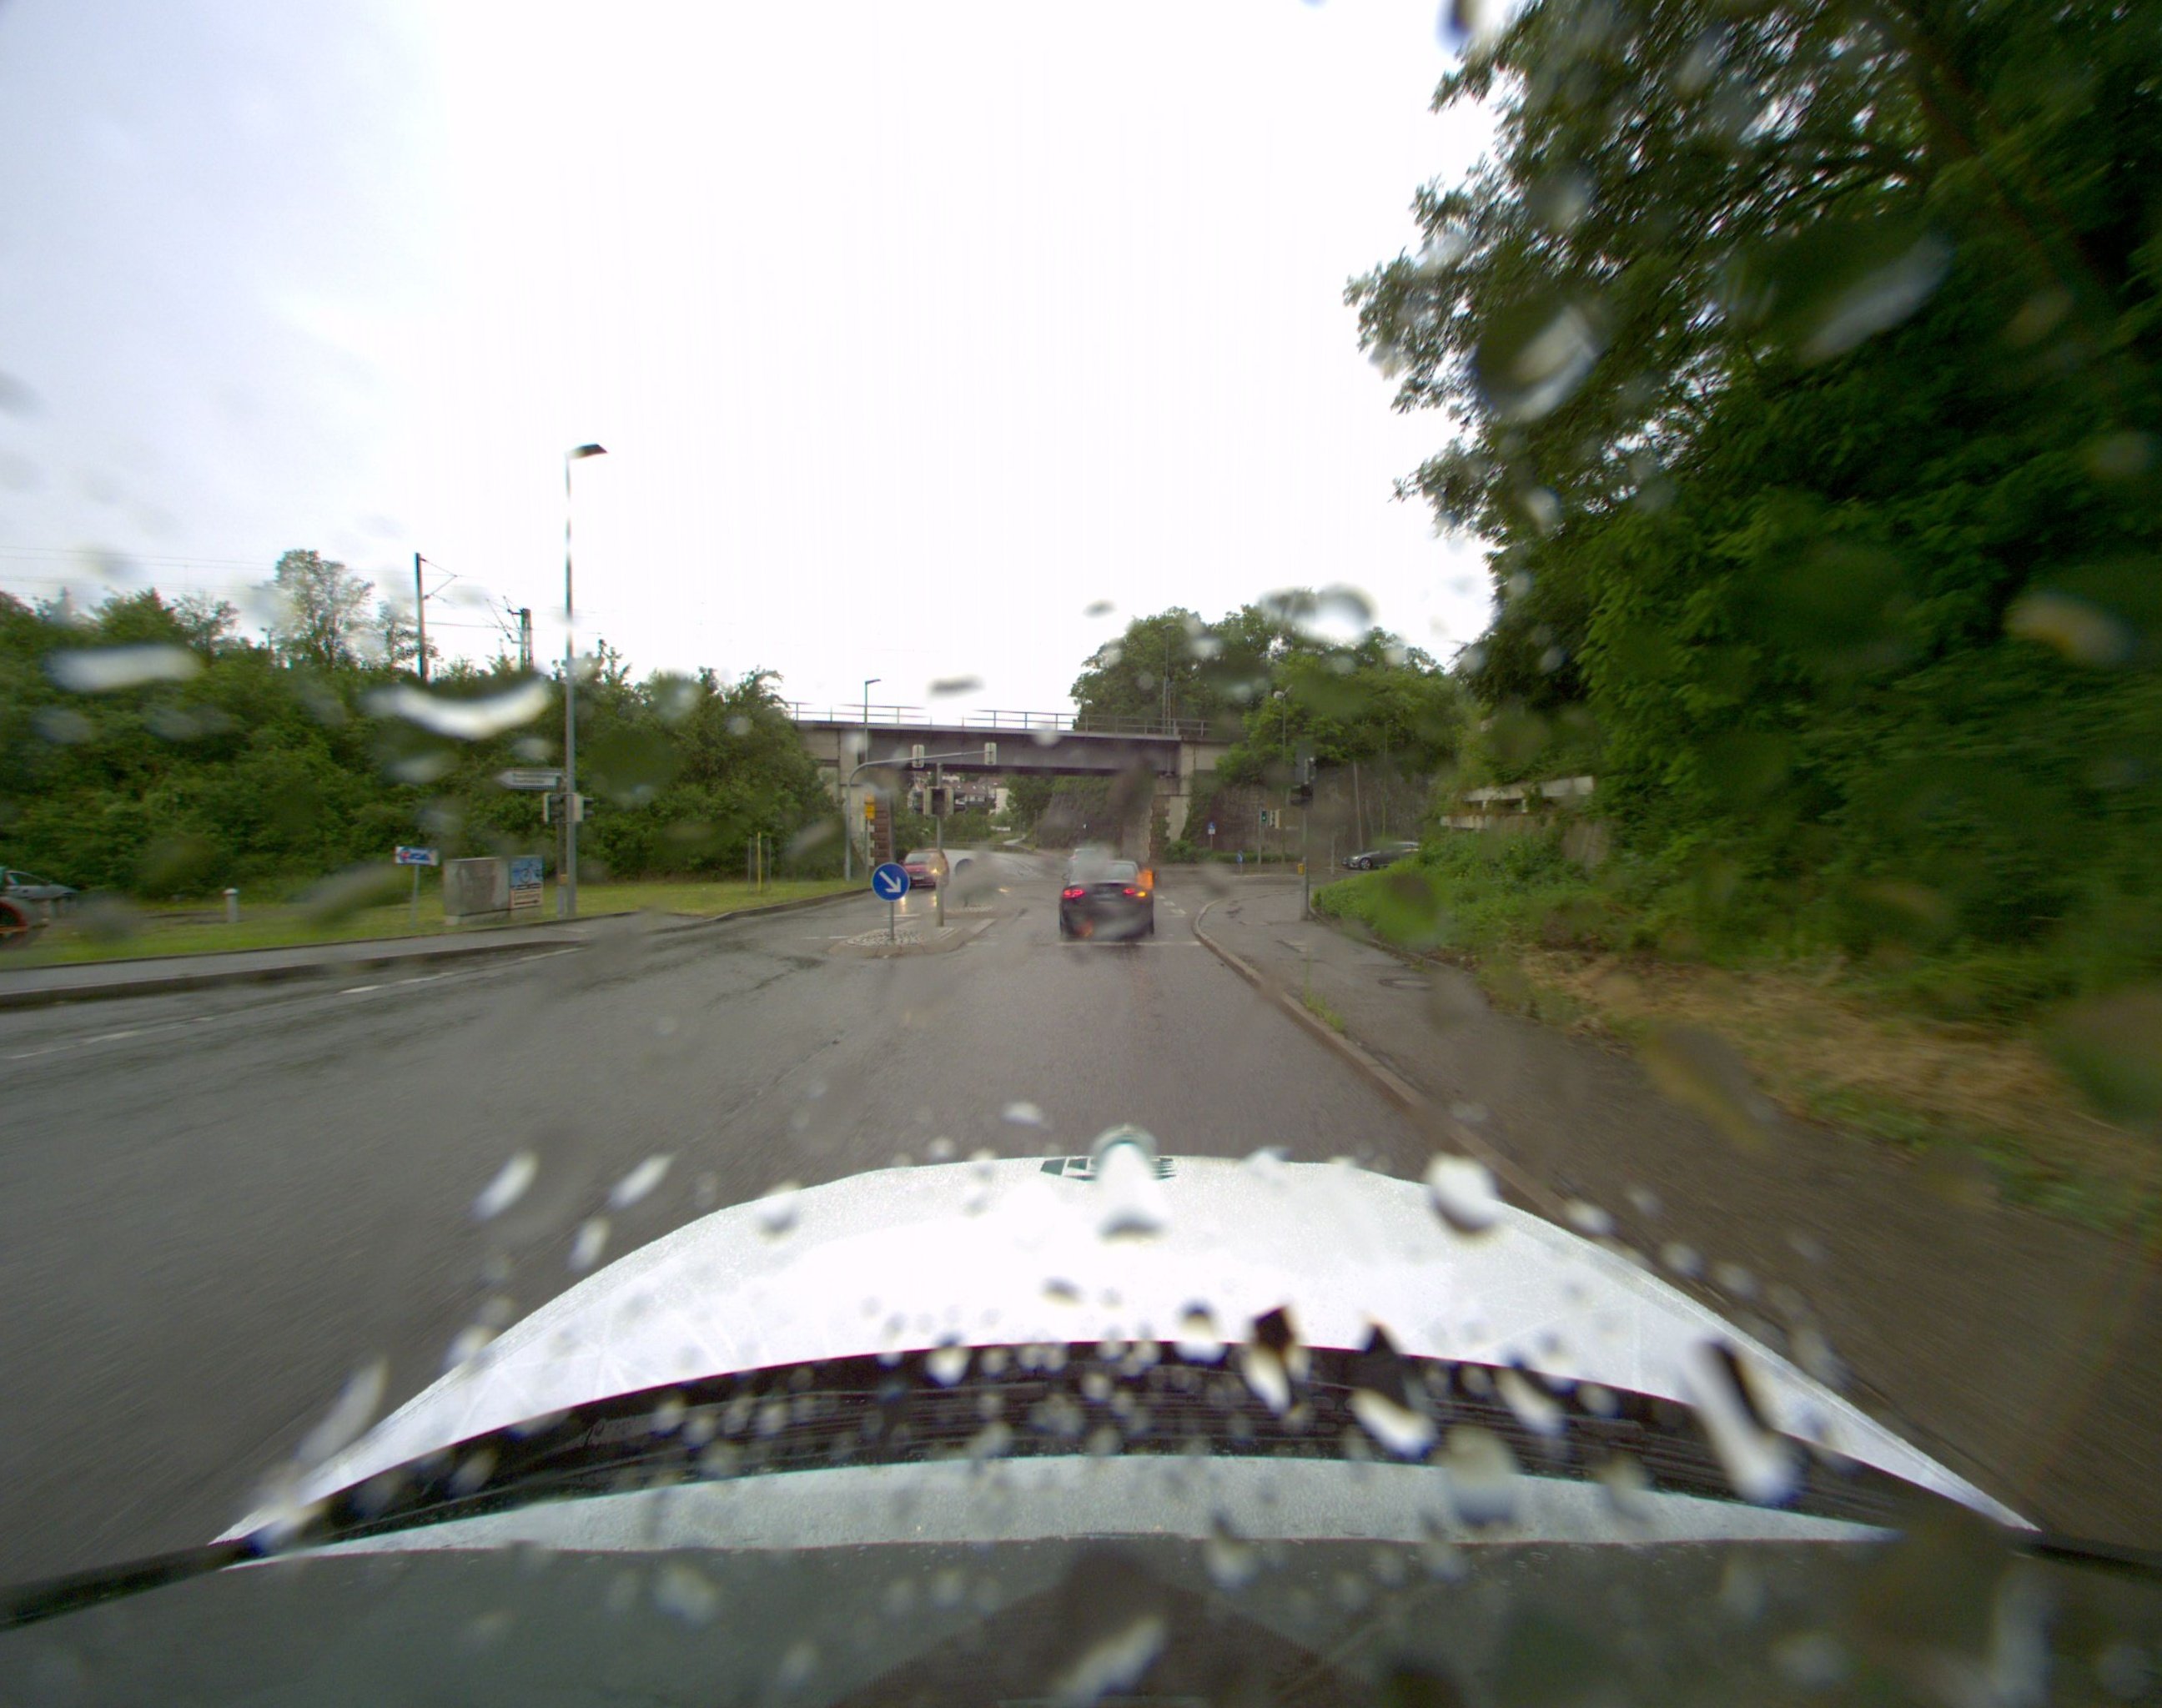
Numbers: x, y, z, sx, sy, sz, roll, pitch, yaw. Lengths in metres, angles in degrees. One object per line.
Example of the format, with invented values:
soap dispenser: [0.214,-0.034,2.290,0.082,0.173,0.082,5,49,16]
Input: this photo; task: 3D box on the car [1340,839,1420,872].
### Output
car: [15.939,0.113,43.523,3.694,1.662,1.488,-1,-1,-5]

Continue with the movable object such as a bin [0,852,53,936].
movable object such as a bin: [-23.530,0.793,14.830,2.716,1.628,5.816,-2,-2,41]

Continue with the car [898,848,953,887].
car: [-6.957,0.587,36.715,1.990,1.628,3.993,-1,0,-5]

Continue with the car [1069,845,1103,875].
car: [0.334,0.366,45.990,1.816,1.585,4.001,-1,-1,2]

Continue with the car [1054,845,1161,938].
car: [0.525,0.701,16.380,1.863,1.617,4.001,-1,-1,2]
